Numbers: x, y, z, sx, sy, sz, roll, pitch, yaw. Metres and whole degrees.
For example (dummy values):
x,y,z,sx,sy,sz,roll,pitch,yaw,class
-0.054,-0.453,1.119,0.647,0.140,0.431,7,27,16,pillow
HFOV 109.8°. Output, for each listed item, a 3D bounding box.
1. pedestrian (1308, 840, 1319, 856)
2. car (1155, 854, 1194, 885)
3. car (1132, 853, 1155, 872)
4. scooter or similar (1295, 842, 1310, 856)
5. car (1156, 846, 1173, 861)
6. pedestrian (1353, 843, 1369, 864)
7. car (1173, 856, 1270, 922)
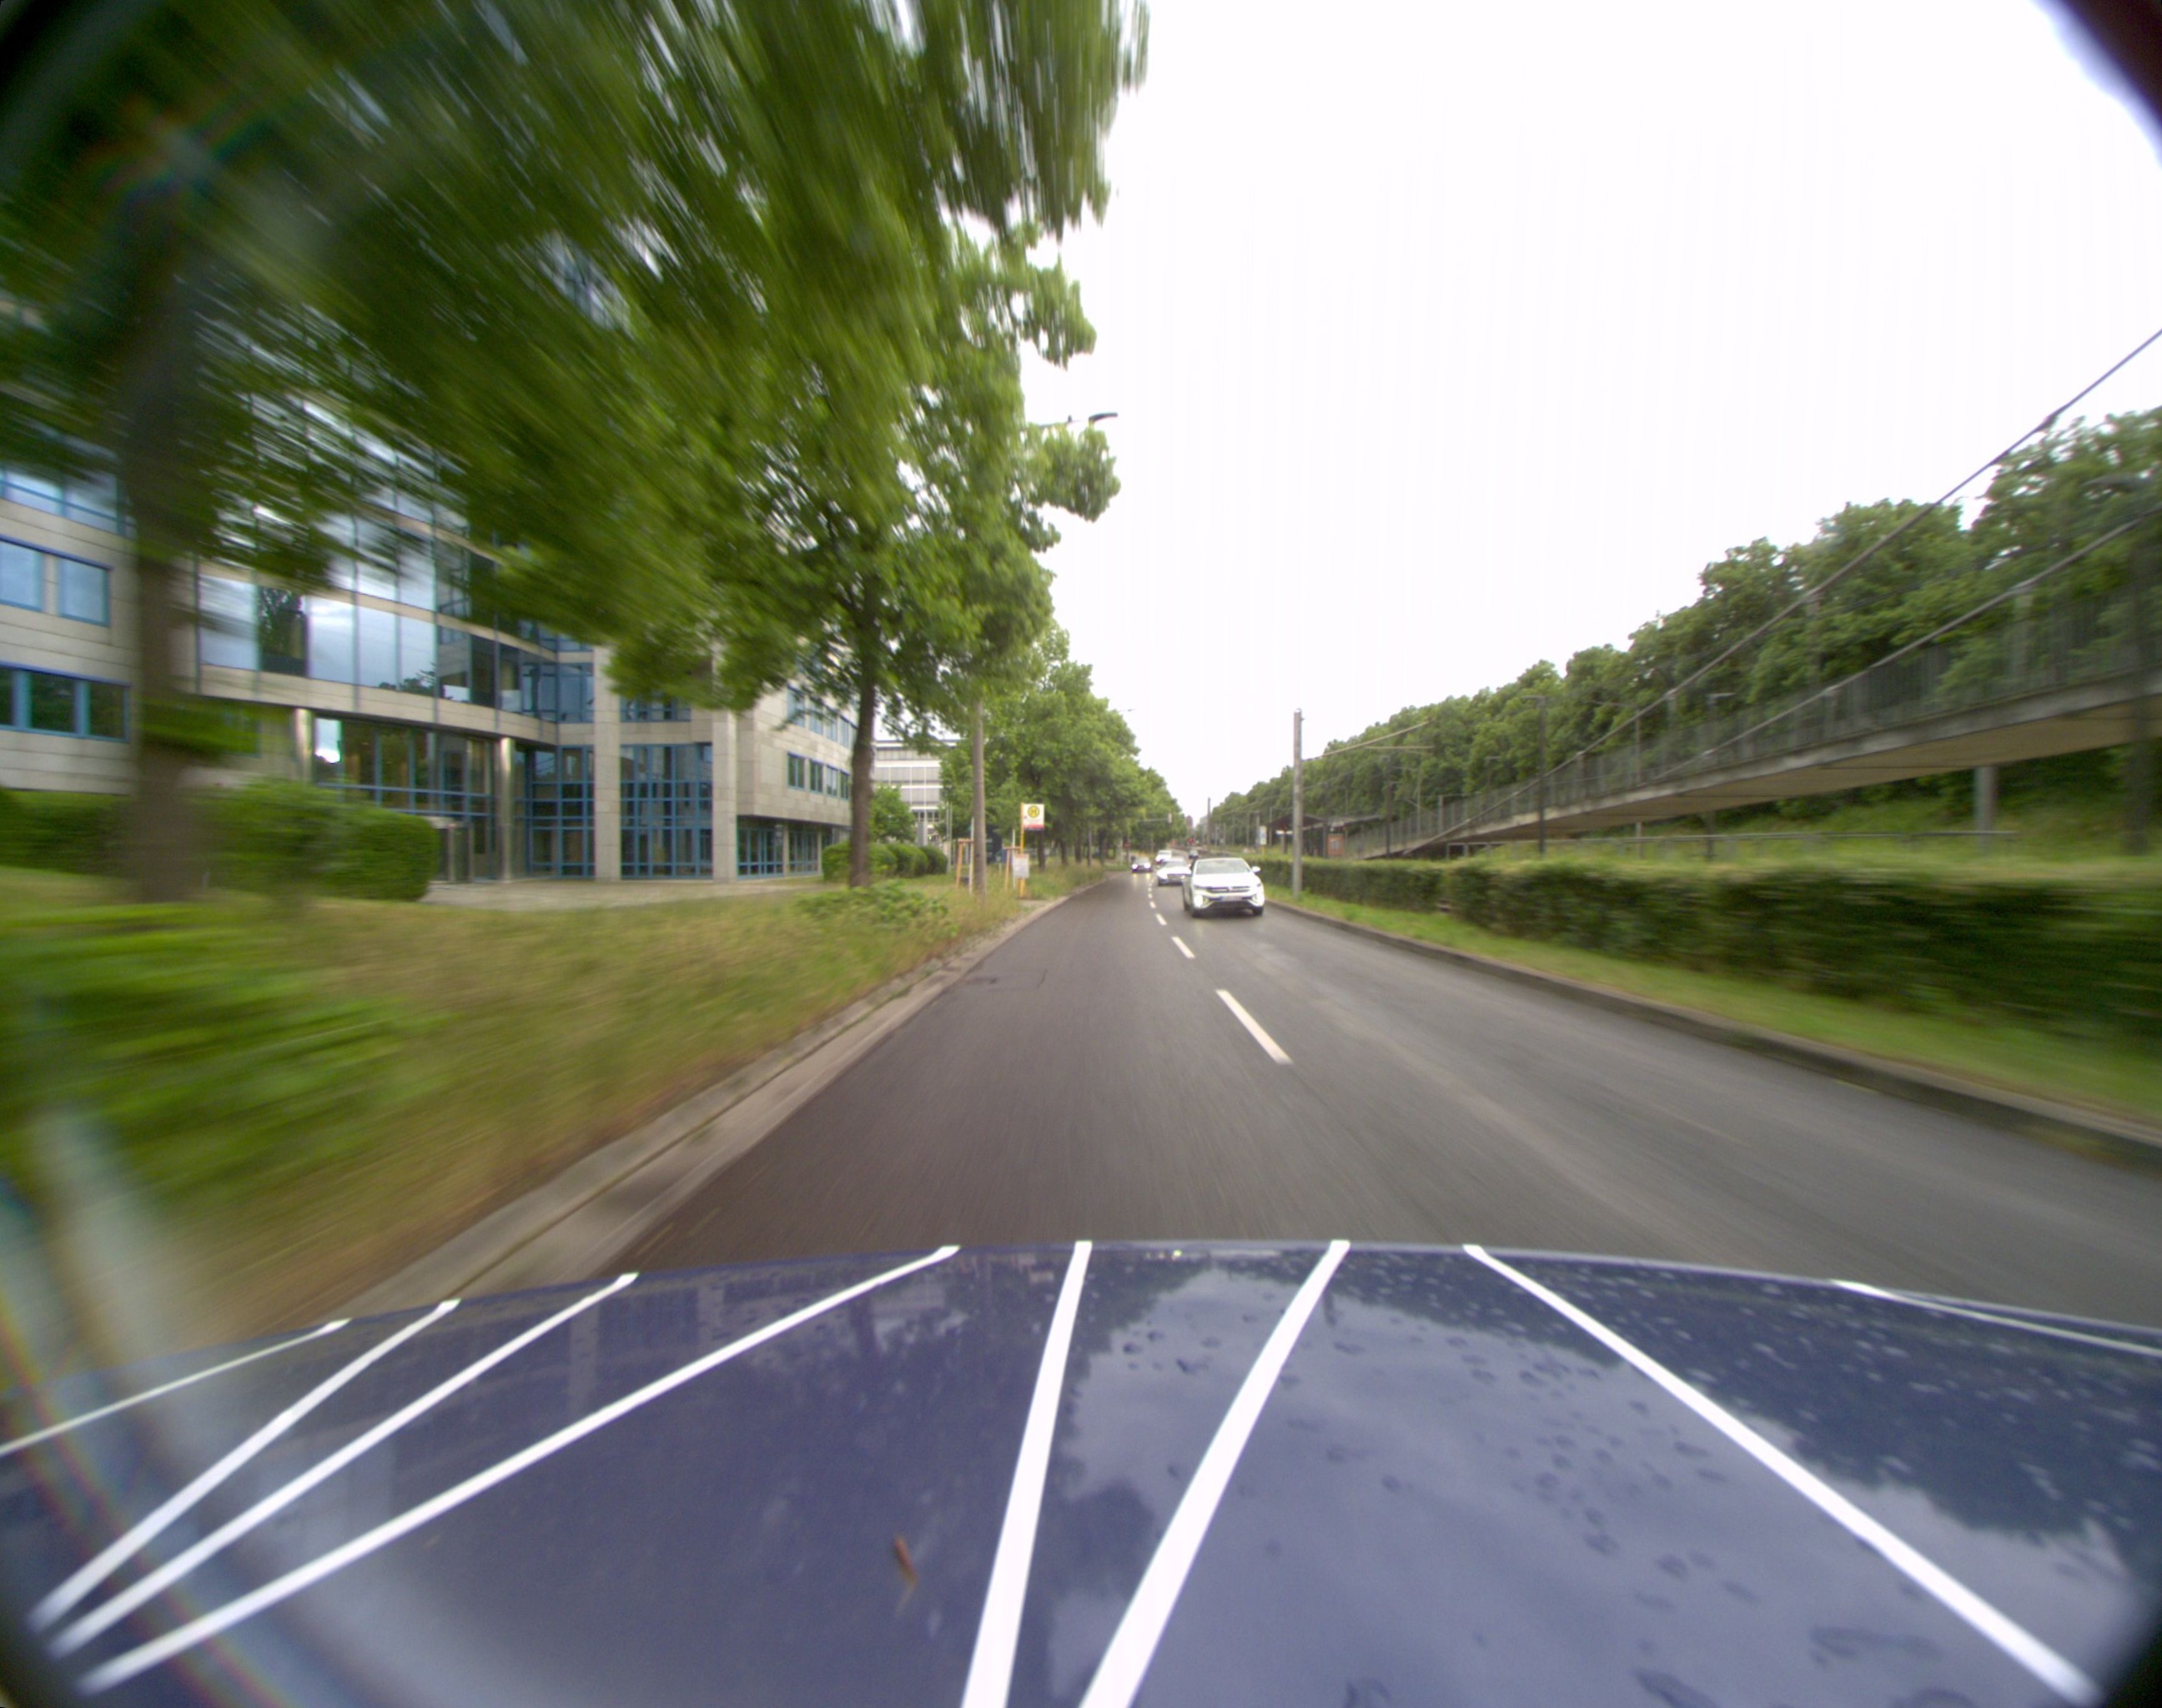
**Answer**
x,y,z,sx,sy,sz,roll,pitch,yaw,class
19.536,-0.522,63.943,0.754,1.348,0.692,-1,1,6,pedestrian
5.279,0.815,42.286,1.959,1.472,4.702,-3,1,8,car
5.764,0.742,69.501,1.959,1.469,4.701,-3,1,6,car
19.728,-0.420,67.683,0.380,1.211,1.297,-4,2,-37,scooter or similar
11.092,-0.073,101.134,1.959,1.914,4.848,-3,1,8,car
21.897,-0.079,59.340,0.937,1.602,1.027,-1,1,7,pedestrian
3.678,0.851,20.728,1.960,1.457,4.700,-3,0,3,car
